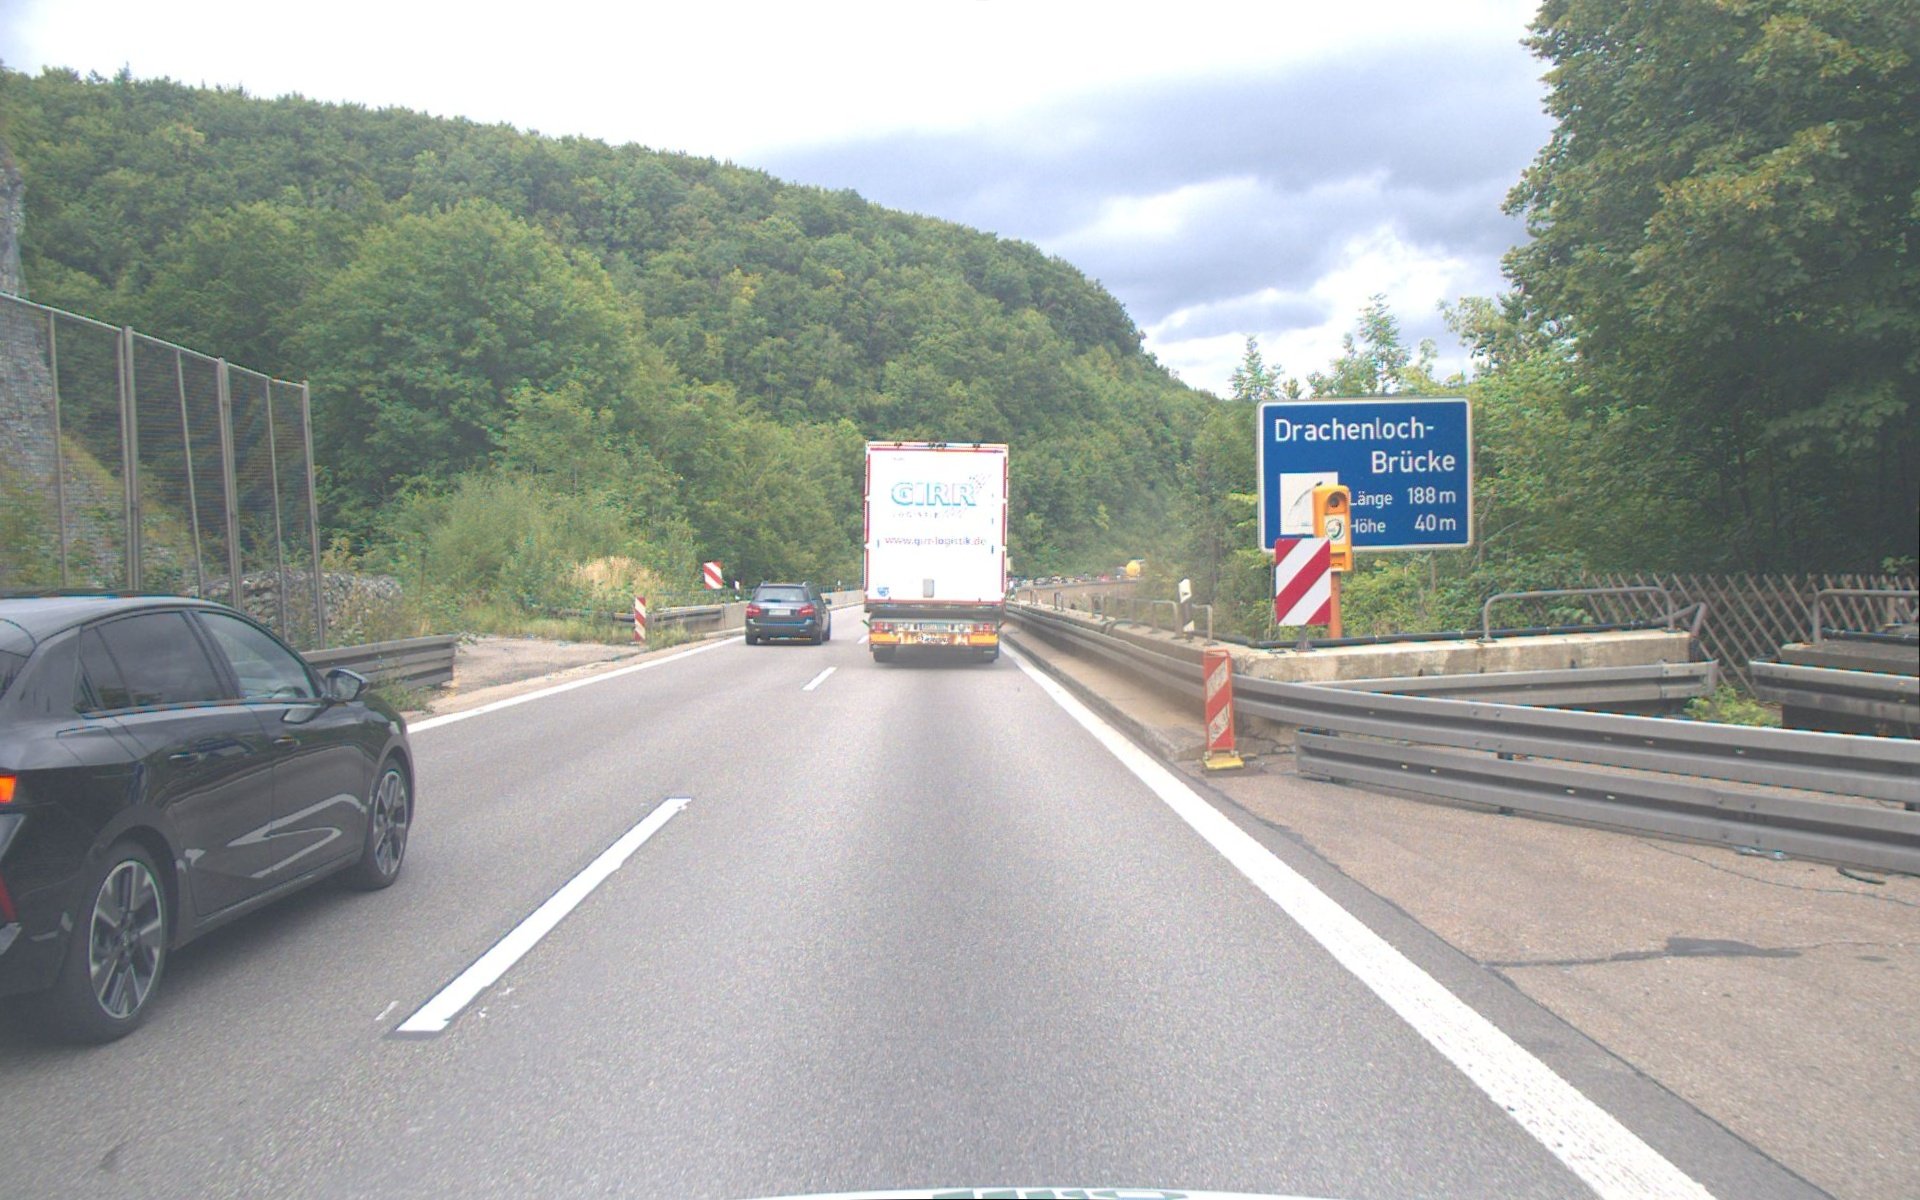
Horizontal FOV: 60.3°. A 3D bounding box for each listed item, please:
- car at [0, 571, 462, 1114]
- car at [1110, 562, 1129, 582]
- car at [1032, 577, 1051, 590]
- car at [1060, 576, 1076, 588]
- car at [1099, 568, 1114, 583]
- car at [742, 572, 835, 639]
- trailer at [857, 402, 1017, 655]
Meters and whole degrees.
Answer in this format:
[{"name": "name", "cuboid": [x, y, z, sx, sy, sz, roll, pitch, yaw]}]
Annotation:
[{"name": "car", "cuboid": [-3.517, 0.639, 6.580, 1.737, 1.486, 4.581, 0, 1, -1]}, {"name": "car", "cuboid": [24.968, -4.409, 259.058, 2.314, 3.018, 6.858, 0, 0, 11]}, {"name": "car", "cuboid": [10.535, -2.124, 213.507, 1.951, 1.713, 4.003, 0, 0, 9]}, {"name": "car", "cuboid": [15.653, -2.620, 239.756, 1.951, 1.713, 4.003, 0, 0, 9]}, {"name": "car", "cuboid": [21.158, -3.501, 238.314, 1.951, 2.116, 4.003, 0, 0, 9]}, {"name": "car", "cuboid": [-4.153, 0.117, 40.571, 1.845, 1.536, 4.418, -1, 0, -1]}, {"name": "trailer", "cuboid": [-0.456, -1.265, 34.887, 2.756, 4.377, 12.243, -1, 0, -1]}]
